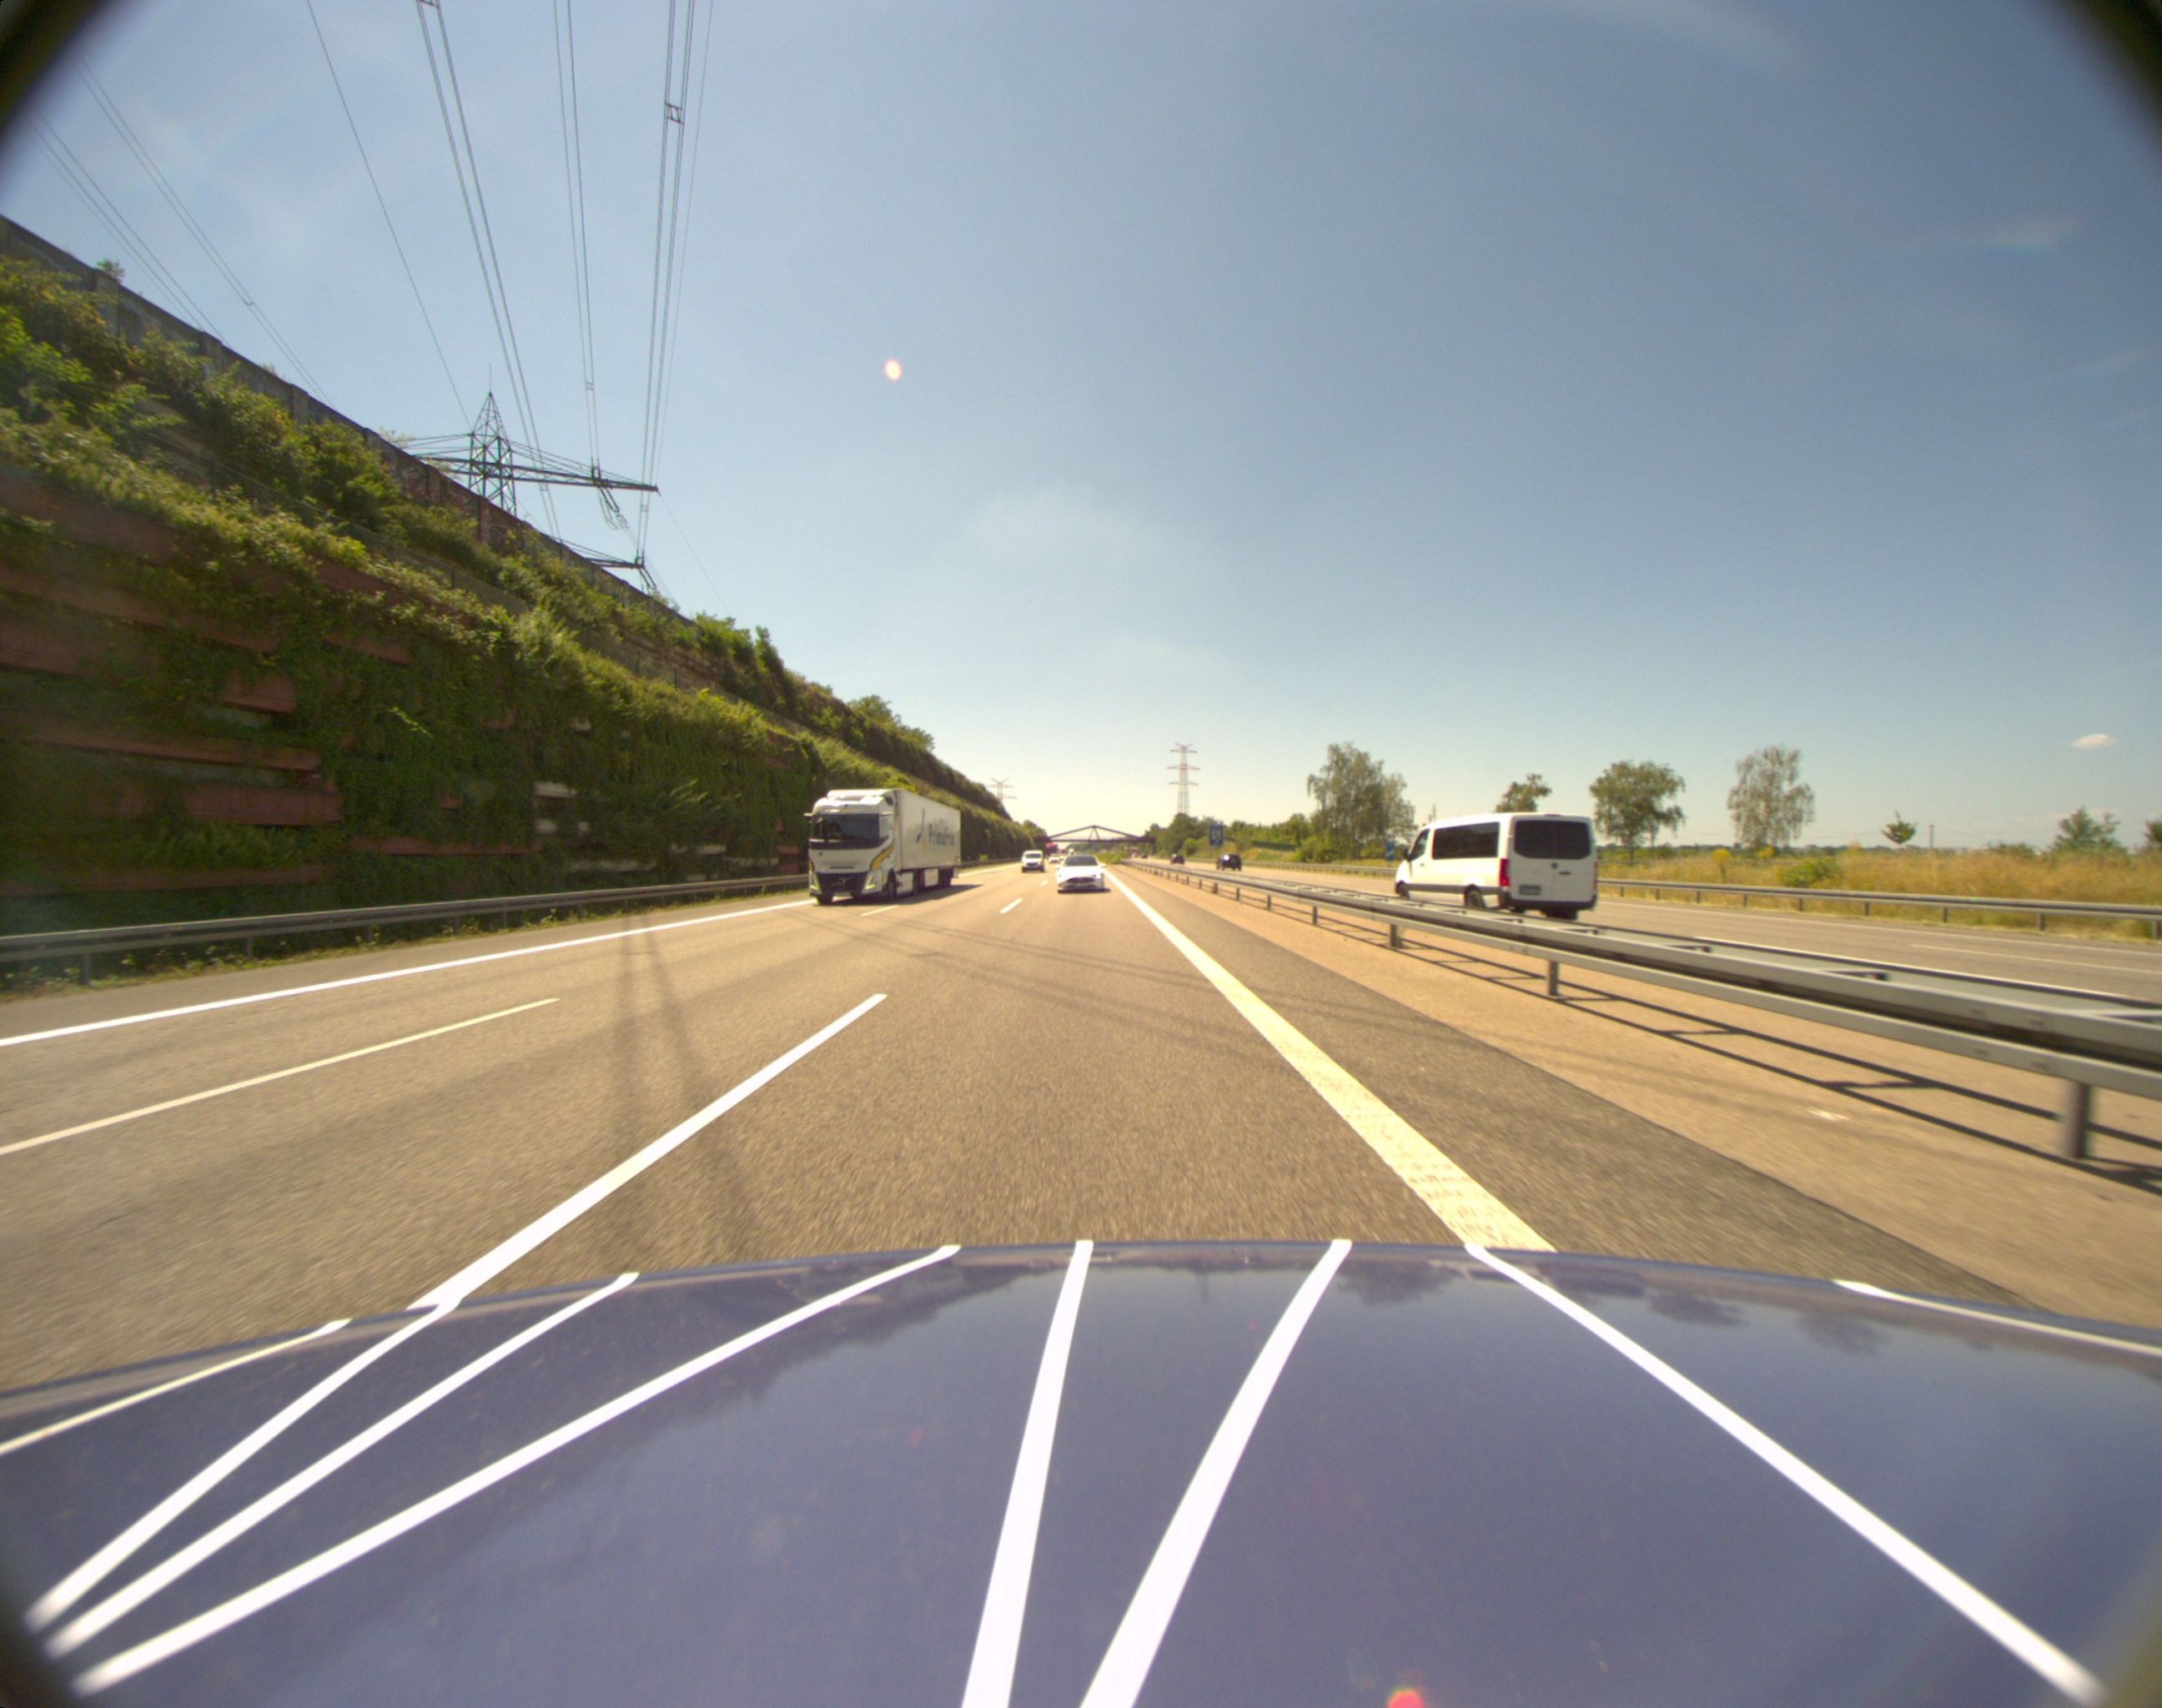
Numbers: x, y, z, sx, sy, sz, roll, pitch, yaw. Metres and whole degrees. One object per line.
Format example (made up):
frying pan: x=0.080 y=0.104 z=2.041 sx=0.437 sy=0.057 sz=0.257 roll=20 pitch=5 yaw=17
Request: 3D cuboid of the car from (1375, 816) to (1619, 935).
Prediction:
car: x=9.347 y=0.400 z=18.054 sx=2.114 sy=2.284 sz=6.706 roll=0 pitch=0 yaw=0

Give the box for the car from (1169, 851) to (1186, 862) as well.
car: x=13.725 y=0.393 z=108.159 sx=1.622 sy=1.451 sz=4.283 roll=3 pitch=0 yaw=-1

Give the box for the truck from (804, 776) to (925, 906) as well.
truck: x=-7.650 y=-0.446 z=27.728 sx=2.514 sy=4.196 sz=6.255 roll=0 pitch=1 yaw=1

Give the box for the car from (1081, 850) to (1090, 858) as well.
car: x=0.951 y=0.026 z=152.583 sx=1.784 sy=1.475 sz=3.999 roll=0 pitch=0 yaw=-1

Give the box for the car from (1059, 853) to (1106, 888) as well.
car: x=0.043 y=0.699 z=34.384 sx=1.999 sy=1.474 sz=4.107 roll=-1 pitch=0 yaw=-1

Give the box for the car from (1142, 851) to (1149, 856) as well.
car: x=18.961 y=-0.207 z=224.167 sx=1.545 sy=1.441 sz=4.798 roll=1 pitch=0 yaw=0

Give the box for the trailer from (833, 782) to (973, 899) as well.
trailer: x=-7.589 y=-0.513 z=35.813 sx=2.521 sy=4.187 sz=17.026 roll=-1 pitch=0 yaw=0

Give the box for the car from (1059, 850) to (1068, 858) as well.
car: x=-3.470 y=-0.017 z=155.053 sx=1.784 sy=1.475 sz=3.999 roll=-1 pitch=0 yaw=-1

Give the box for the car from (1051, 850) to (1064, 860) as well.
car: x=-3.524 y=0.192 z=115.185 sx=1.784 sy=1.475 sz=3.999 roll=-1 pitch=0 yaw=-1

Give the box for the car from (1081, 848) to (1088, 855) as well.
car: x=0.925 y=-0.664 z=218.001 sx=1.998 sy=2.002 sz=4.000 roll=-2 pitch=1 yaw=1

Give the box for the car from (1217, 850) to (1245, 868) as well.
car: x=14.407 y=0.462 z=73.171 sx=1.845 sy=1.620 sz=4.413 roll=2 pitch=0 yaw=1

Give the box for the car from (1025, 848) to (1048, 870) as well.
car: x=-3.784 y=0.381 z=64.820 sx=1.784 sy=1.783 sz=3.999 roll=-1 pitch=0 yaw=-1
